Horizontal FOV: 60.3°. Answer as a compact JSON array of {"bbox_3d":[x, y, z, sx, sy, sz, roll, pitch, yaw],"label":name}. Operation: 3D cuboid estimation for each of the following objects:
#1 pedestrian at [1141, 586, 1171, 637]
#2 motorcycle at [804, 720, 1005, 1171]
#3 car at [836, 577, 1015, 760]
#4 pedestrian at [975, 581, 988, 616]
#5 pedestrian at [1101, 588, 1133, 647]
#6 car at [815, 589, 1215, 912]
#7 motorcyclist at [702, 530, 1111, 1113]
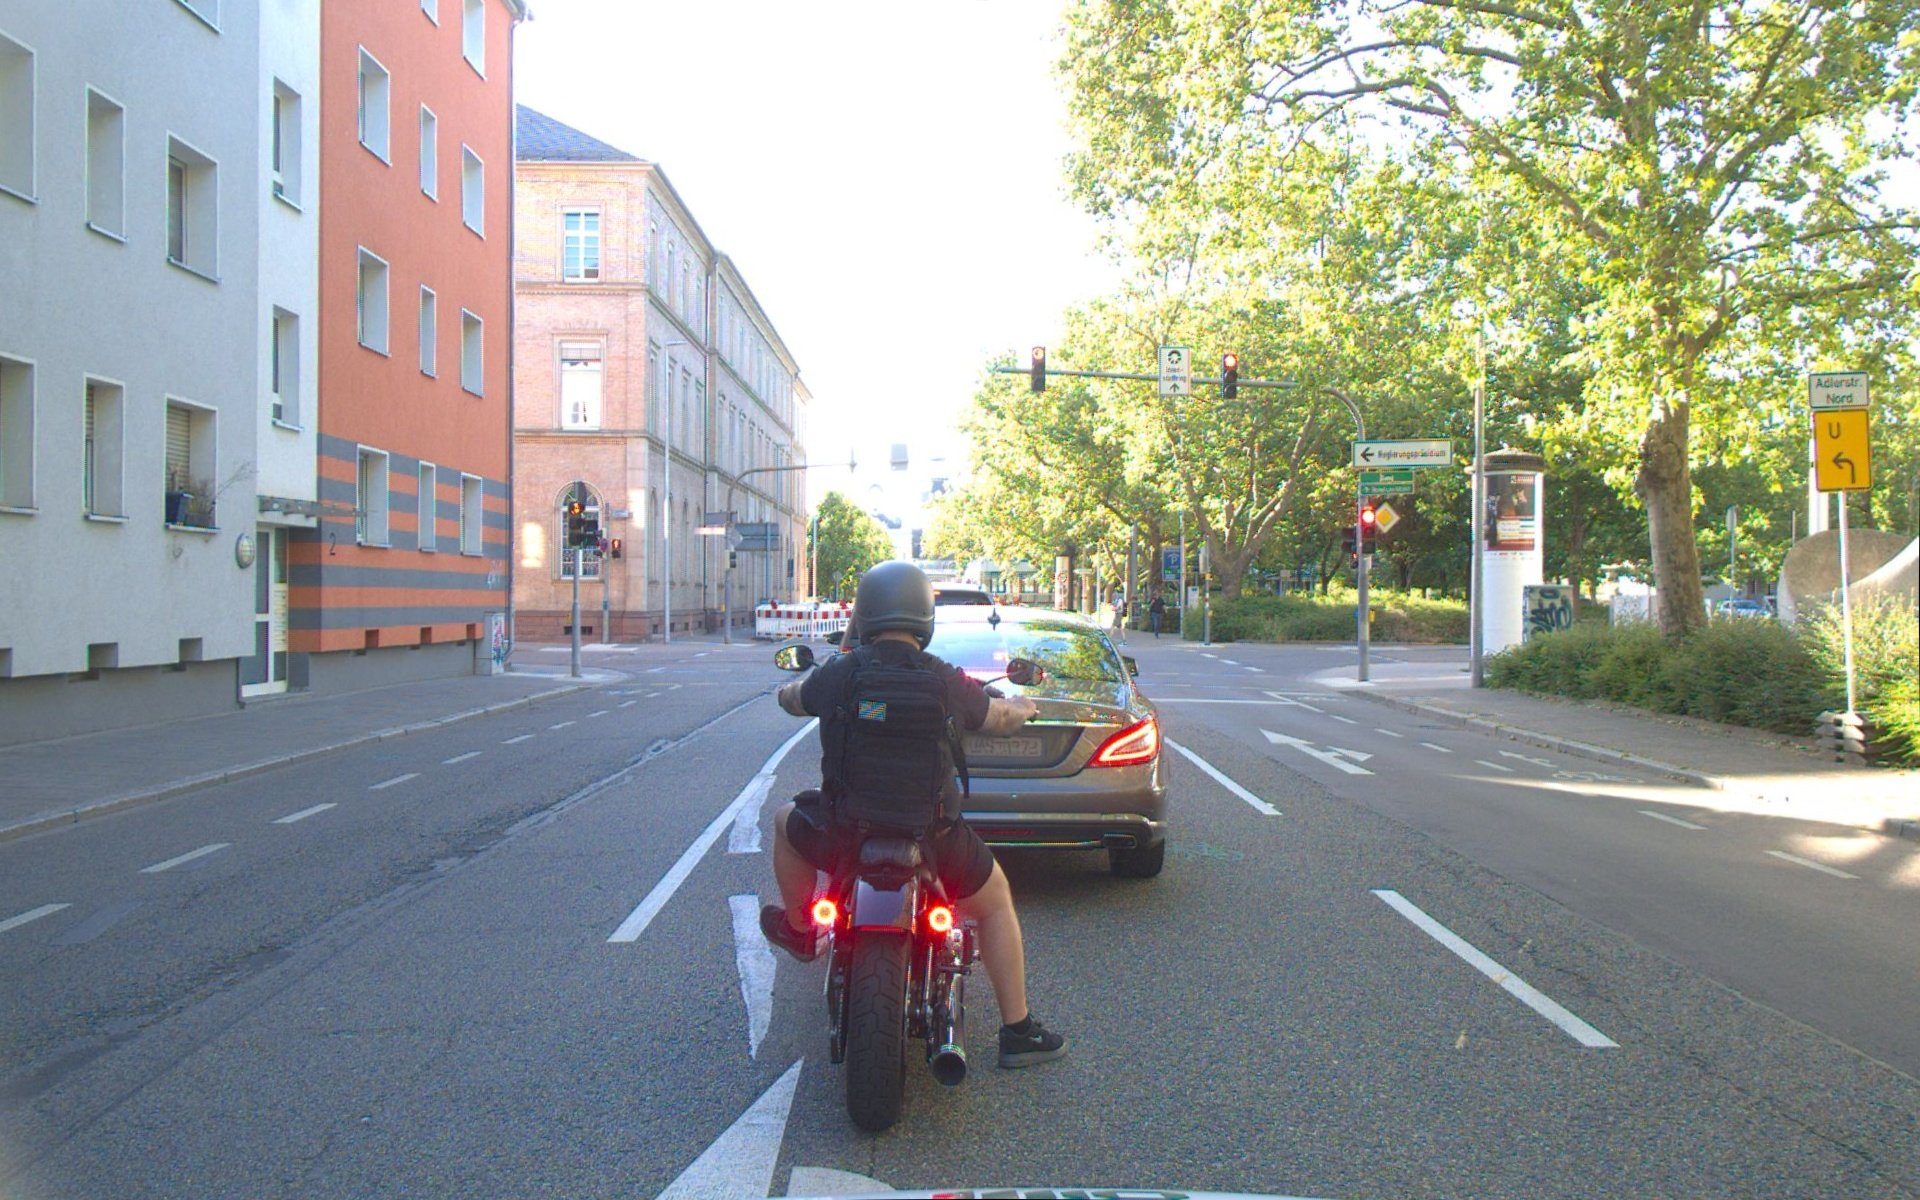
[{"bbox_3d":[7.534,0.444,63.732,0.741,1.943,0.917,1,-1,-29],"label":"pedestrian"},{"bbox_3d":[-0.158,0.966,5.282,0.503,1.020,2.013,1,0,-1],"label":"motorcycle"},{"bbox_3d":[-0.335,0.603,16.721,1.588,1.622,3.999,0,0,-1],"label":"car"},{"bbox_3d":[1.318,-0.088,101.130,0.748,2.087,0.712,1,-1,-1],"label":"pedestrian"},{"bbox_3d":[5.063,0.556,53.264,0.980,1.858,1.077,1,0,5],"label":"pedestrian"},{"bbox_3d":[0.232,0.691,9.613,1.844,1.475,3.819,1,0,-1],"label":"car"},{"bbox_3d":[-0.158,0.628,5.305,1.125,1.626,1.288,1,0,-1],"label":"motorcyclist"}]
